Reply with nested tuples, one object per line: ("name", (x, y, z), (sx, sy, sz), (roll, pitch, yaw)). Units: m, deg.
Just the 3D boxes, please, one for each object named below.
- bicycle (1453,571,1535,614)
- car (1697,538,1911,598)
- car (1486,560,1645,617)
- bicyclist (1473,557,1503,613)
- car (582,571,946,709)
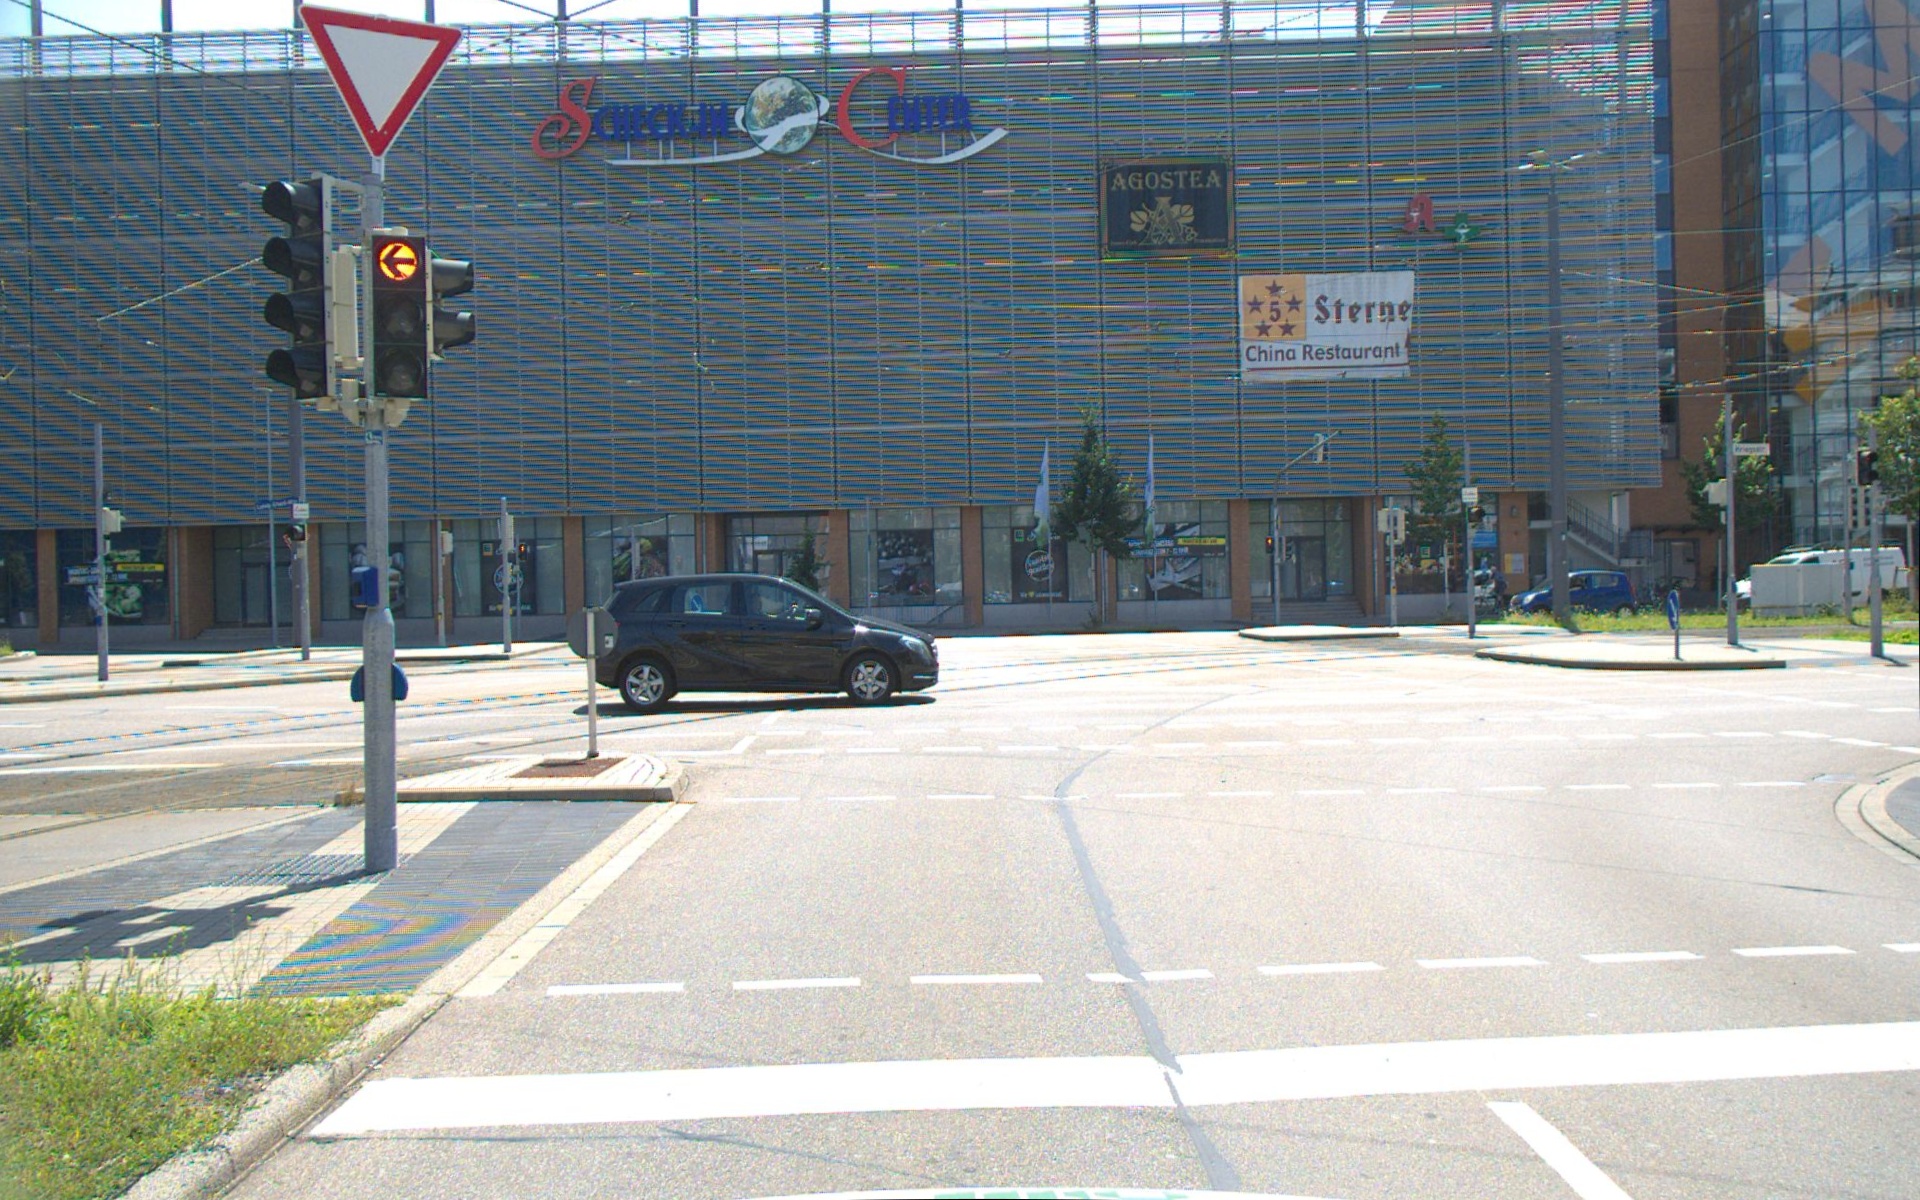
("bicycle", (19.686, -0.285, 61.042), (2.790, 1.584, 0.705), (0, 1, 3))
("car", (24.654, -0.937, 48.396), (5.356, 1.697, 1.998), (-1, 1, -5))
("car", (17.383, -0.348, 47.584), (3.906, 1.565, 1.881), (0, 1, -2))
("bicyclist", (19.470, -0.570, 61.021), (0.893, 2.049, 0.748), (0, 1, 2))
("car", (-2.348, 0.445, 20.410), (4.234, 1.580, 1.999), (0, 1, -4))
